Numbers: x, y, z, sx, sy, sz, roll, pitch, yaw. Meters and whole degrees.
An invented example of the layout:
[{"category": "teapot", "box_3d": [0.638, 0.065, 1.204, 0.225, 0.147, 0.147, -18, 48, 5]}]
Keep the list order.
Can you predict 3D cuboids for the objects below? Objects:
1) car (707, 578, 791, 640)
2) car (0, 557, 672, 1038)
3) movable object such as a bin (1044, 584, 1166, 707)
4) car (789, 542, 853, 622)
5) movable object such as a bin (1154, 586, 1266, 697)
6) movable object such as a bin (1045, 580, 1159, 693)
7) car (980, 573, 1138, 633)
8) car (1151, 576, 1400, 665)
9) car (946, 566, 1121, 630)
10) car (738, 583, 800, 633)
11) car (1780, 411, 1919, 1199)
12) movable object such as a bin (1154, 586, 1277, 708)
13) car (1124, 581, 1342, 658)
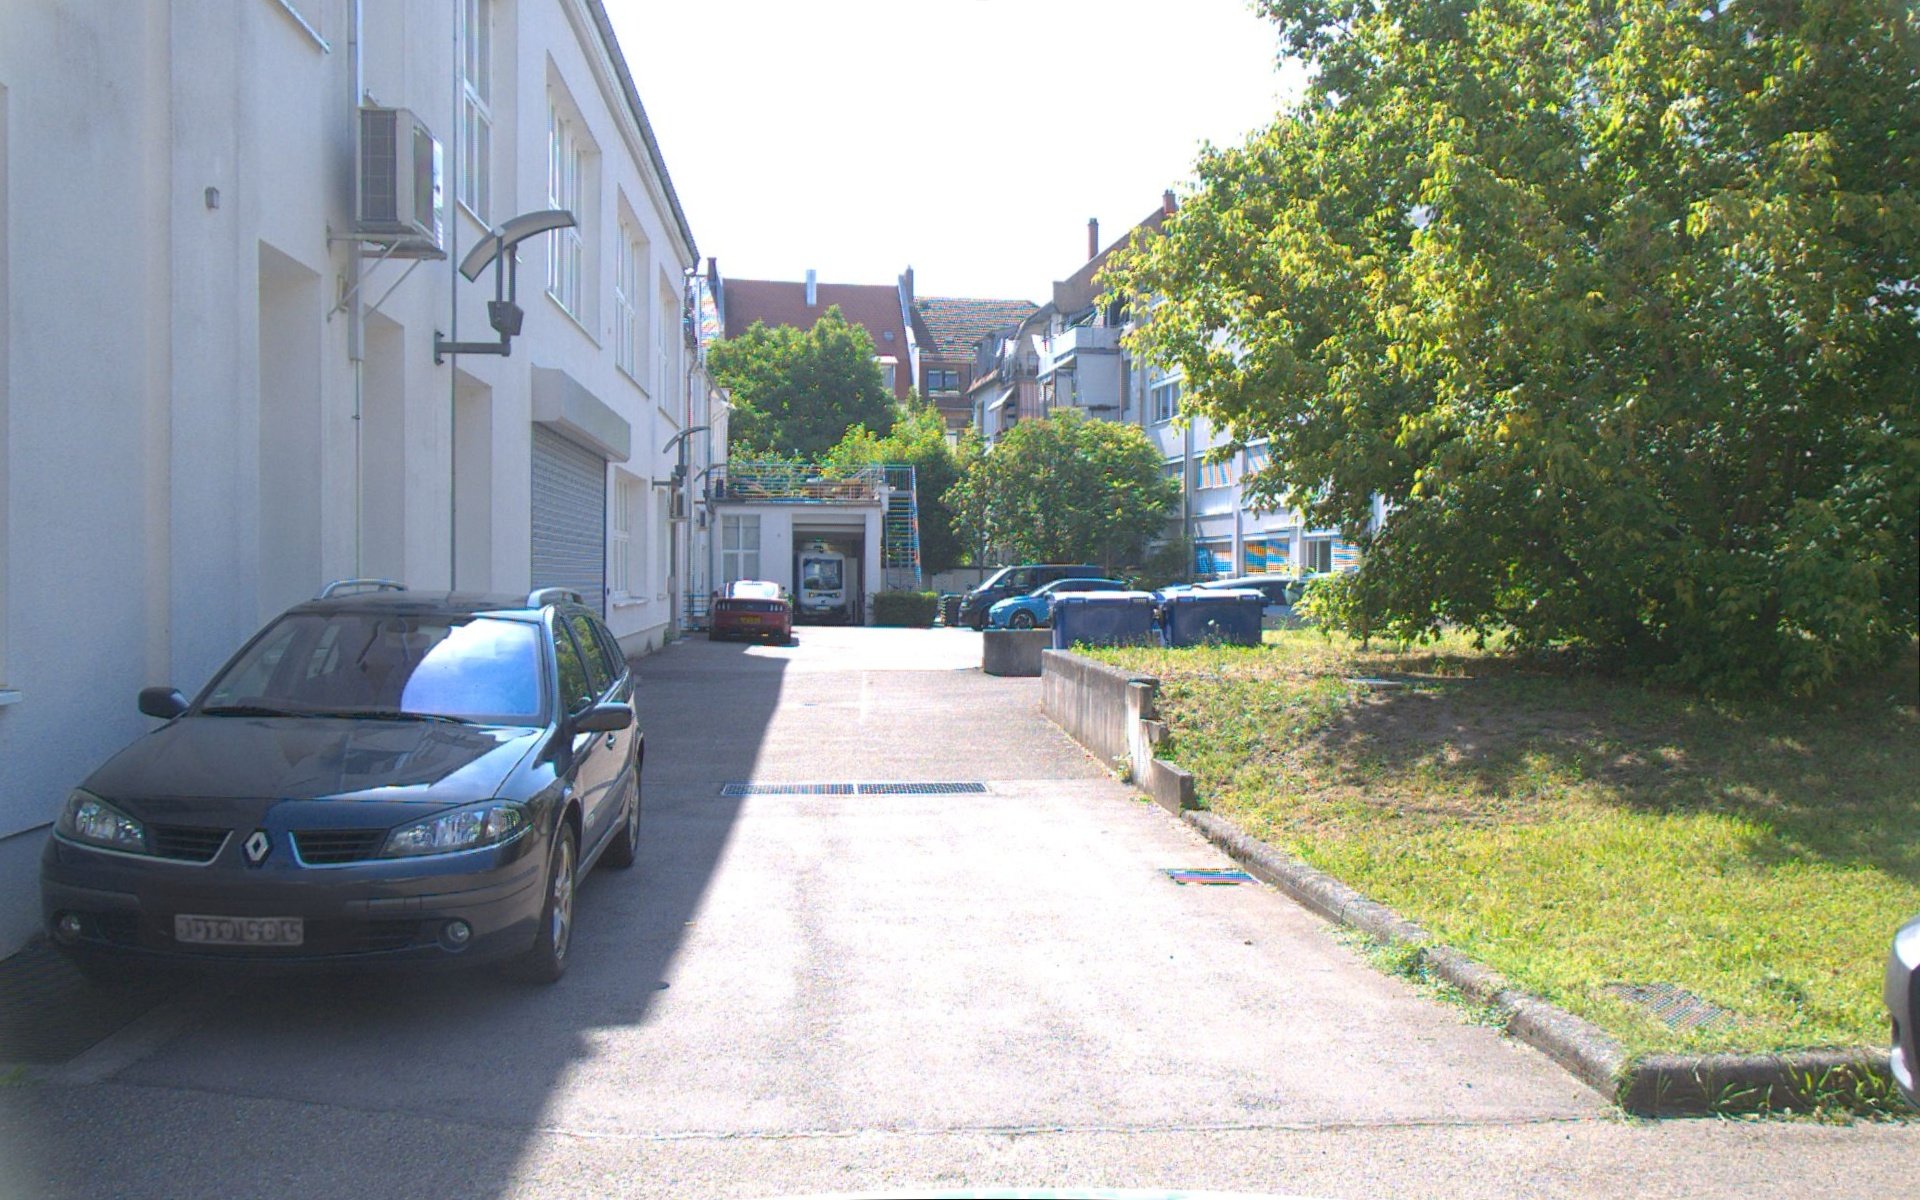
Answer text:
[{"category": "car", "box_3d": [-4.928, 0.182, 38.998, 1.816, 1.342, 3.995, 2, 1, -6]}, {"category": "car", "box_3d": [-2.417, 0.668, 7.447, 1.801, 1.467, 4.424, 2, -1, -5]}, {"category": "movable object such as a bin", "box_3d": [1.663, 0.520, 19.208, 1.222, 1.342, 1.141, -2, -1, -3]}, {"category": "car", "box_3d": [-4.929, -0.621, 58.881, 2.132, 2.652, 6.728, -1, 0, -5]}, {"category": "movable object such as a bin", "box_3d": [3.176, 0.504, 21.119, 1.133, 1.359, 1.140, 0, 1, -8]}, {"category": "movable object such as a bin", "box_3d": [1.789, 0.438, 20.986, 1.224, 1.379, 1.127, 0, 1, -8]}, {"category": "car", "box_3d": [2.764, 0.062, 46.725, 4.150, 1.559, 1.997, -1, 2, -9]}, {"category": "car", "box_3d": [5.466, 0.325, 28.864, 3.912, 1.452, 1.809, -1, 1, -8]}, {"category": "car", "box_3d": [2.211, -0.092, 49.937, 4.874, 1.798, 2.086, -1, 2, -18]}, {"category": "car", "box_3d": [-5.278, 0.194, 46.016, 1.582, 1.318, 3.755, -1, 1, -5]}, {"category": "car", "box_3d": [4.827, 0.537, 3.820, 4.924, 1.966, 1.999, 0, 1, -4]}, {"category": "movable object such as a bin", "box_3d": [2.958, 0.522, 19.255, 1.222, 1.364, 1.142, 0, 1, -2]}, {"category": "car", "box_3d": [5.295, 0.356, 32.329, 3.909, 1.418, 1.687, -1, 1, -6]}]
